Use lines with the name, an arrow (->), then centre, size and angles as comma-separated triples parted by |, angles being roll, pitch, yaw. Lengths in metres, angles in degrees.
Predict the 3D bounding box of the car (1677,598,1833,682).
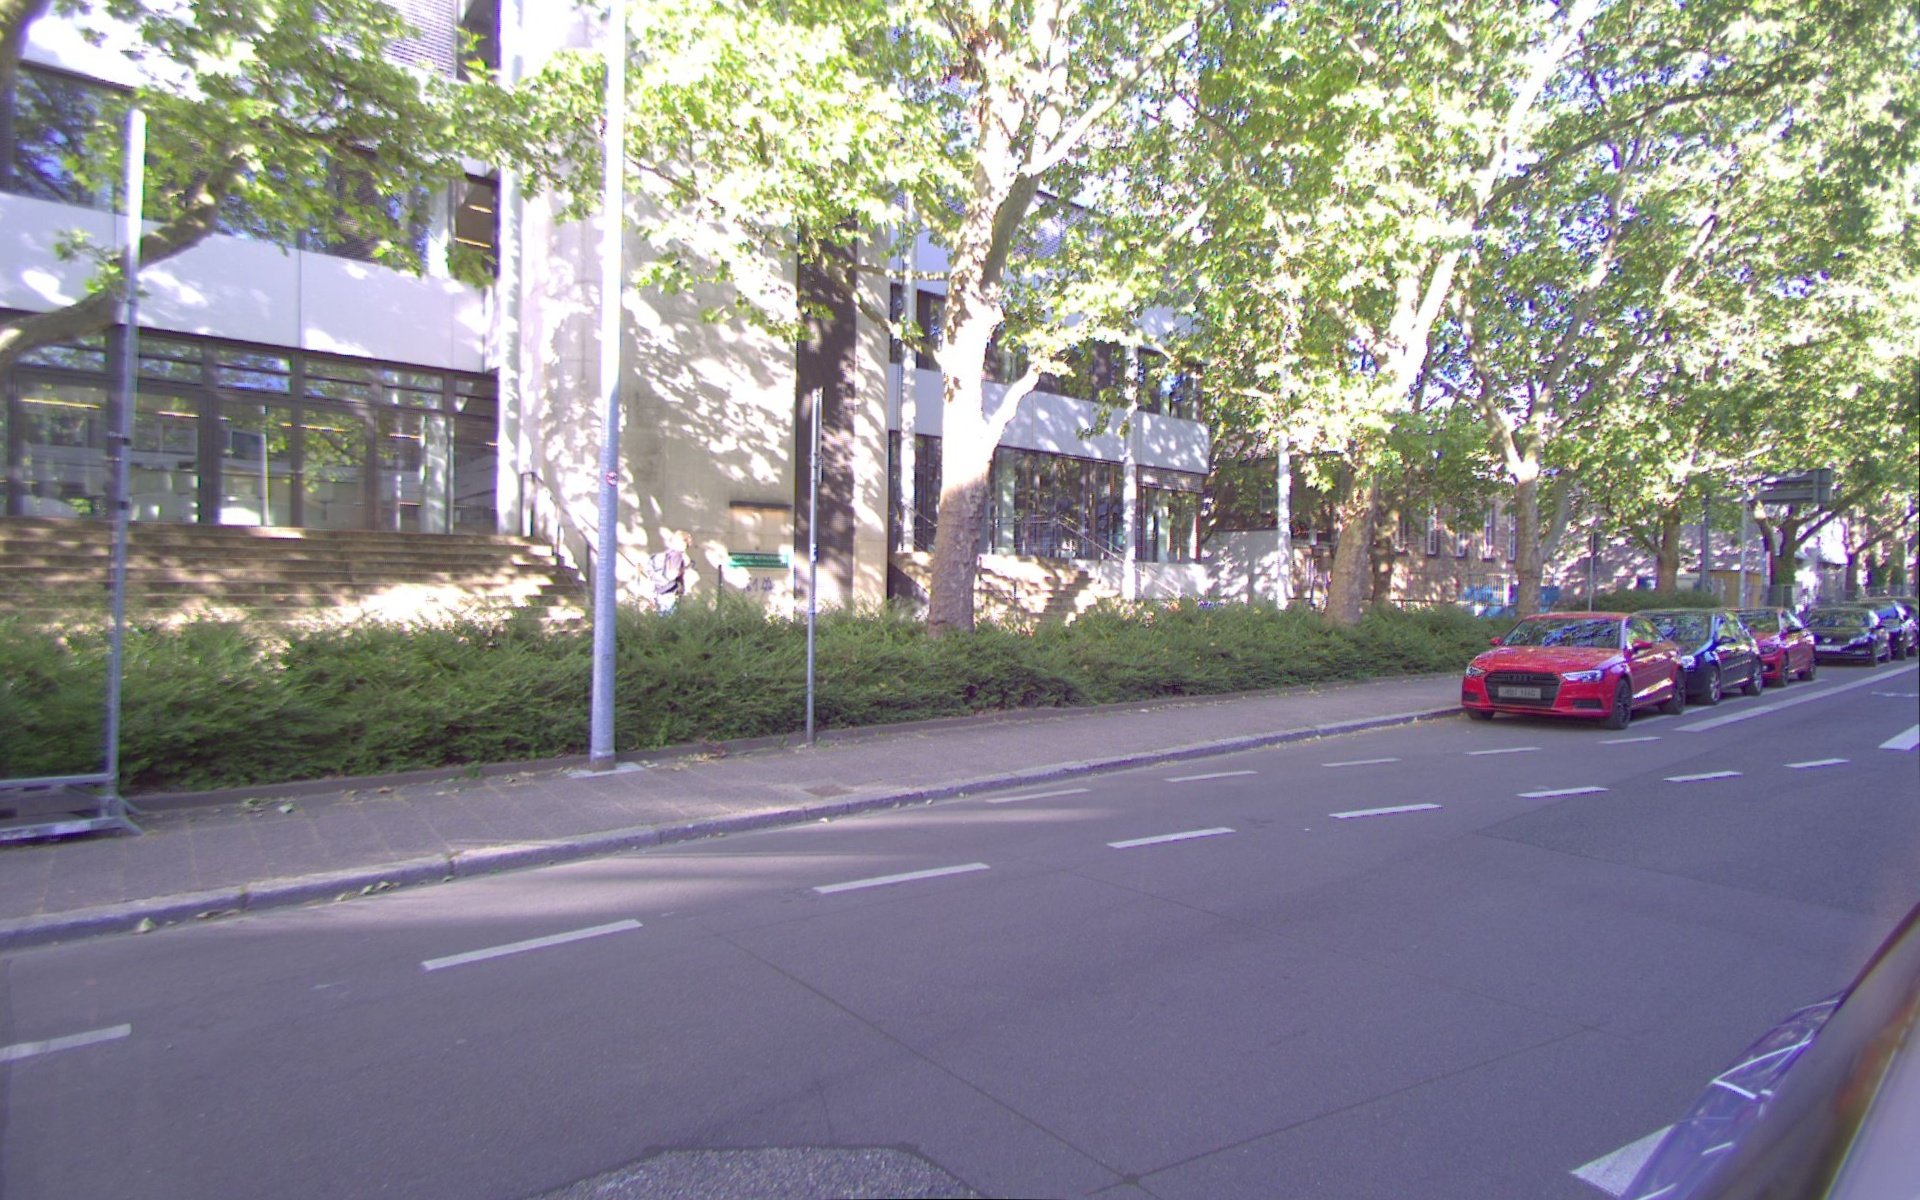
car -> 15.735, 0.708, 19.971 | 3.854, 1.467, 1.691 | -1, 0, -40

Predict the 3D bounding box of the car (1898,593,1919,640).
car -> 35.527, 0.572, 36.784 | 4.497, 1.633, 1.632 | -1, 0, -41

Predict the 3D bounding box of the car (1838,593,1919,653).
car -> 26.625, 0.604, 29.044 | 4.158, 1.598, 1.632 | -1, 0, -41

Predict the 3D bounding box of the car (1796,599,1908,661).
car -> 22.940, 0.712, 25.987 | 3.855, 1.441, 1.691 | -1, 0, -41

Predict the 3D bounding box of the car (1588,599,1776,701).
car -> 11.847, 0.730, 16.544 | 3.632, 1.436, 1.668 | -1, 0, -40

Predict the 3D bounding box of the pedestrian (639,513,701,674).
pedestrian -> -3.782, -0.088, 13.201 | 0.549, 2.039, 0.555 | 0, 0, 38

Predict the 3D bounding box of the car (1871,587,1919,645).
car -> 31.163, 0.473, 33.013 | 4.497, 1.814, 1.632 | -1, 0, -41

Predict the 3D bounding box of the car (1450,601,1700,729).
car -> 8.293, 0.737, 13.515 | 3.931, 1.409, 1.792 | -1, 1, -42
